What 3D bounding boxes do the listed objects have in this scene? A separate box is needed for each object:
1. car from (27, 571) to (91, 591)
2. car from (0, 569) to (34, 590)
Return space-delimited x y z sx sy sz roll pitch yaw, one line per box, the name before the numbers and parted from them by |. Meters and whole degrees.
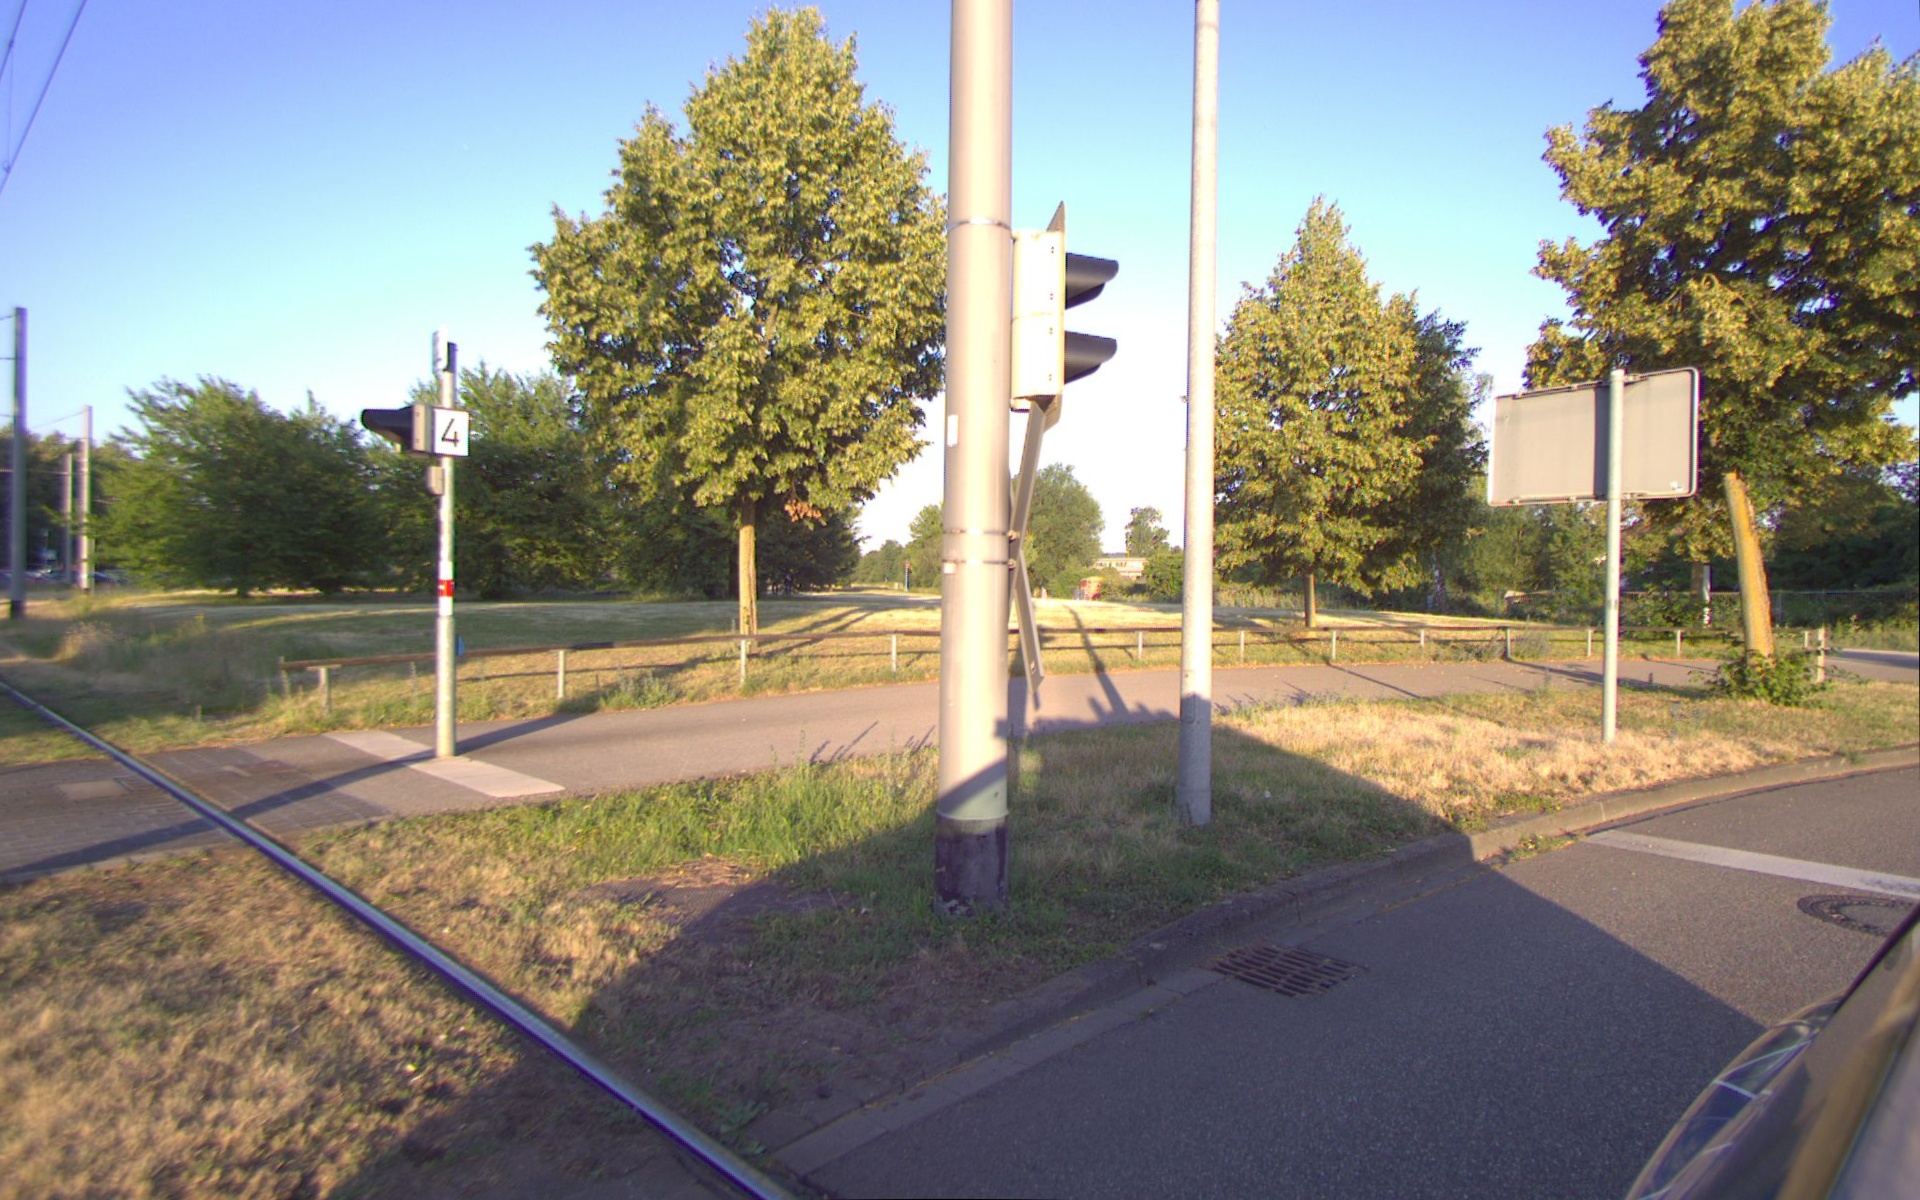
car | -72.730 -1.498 81.728 3.539 1.501 1.712 2 -1 -31
car | -70.587 -1.539 74.267 3.539 1.501 1.712 2 -1 -31
